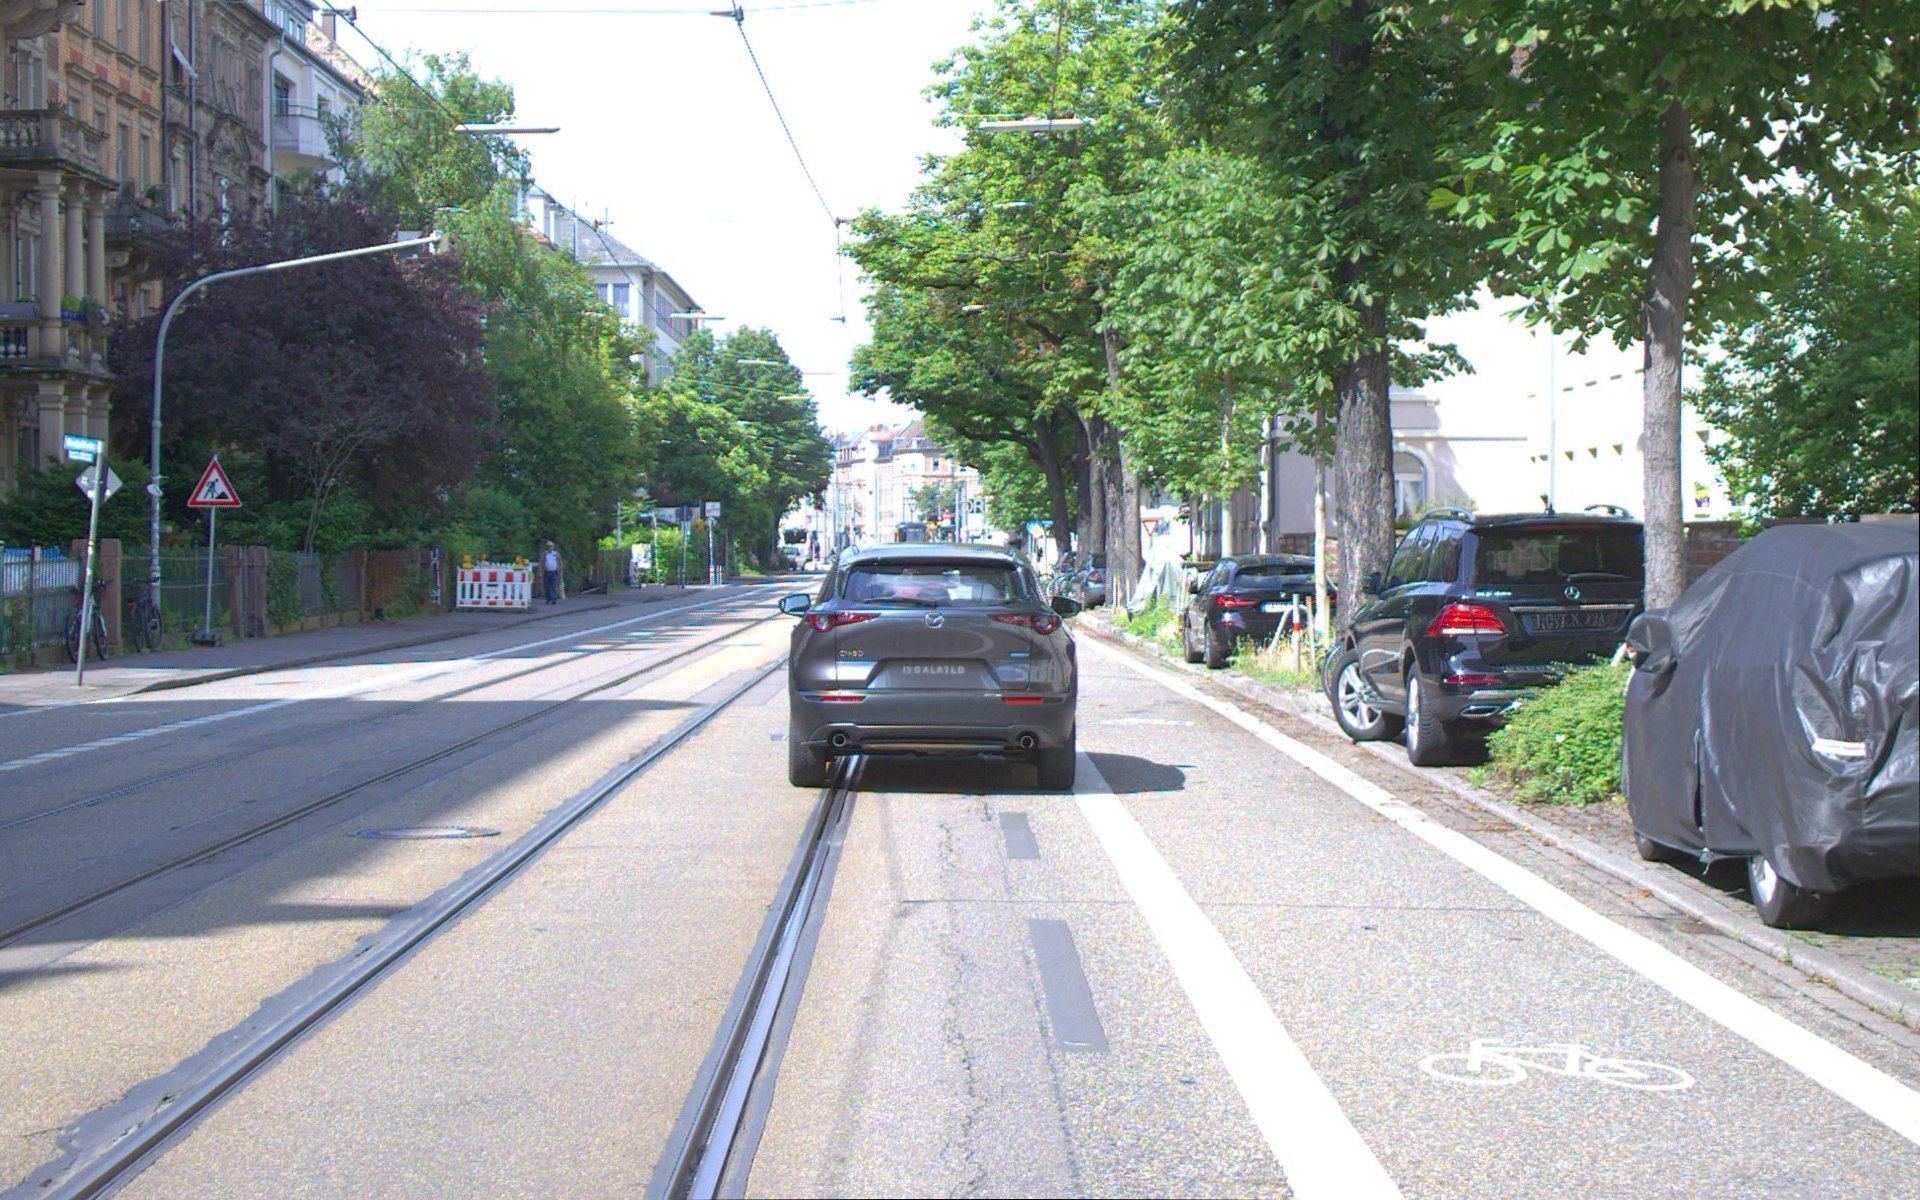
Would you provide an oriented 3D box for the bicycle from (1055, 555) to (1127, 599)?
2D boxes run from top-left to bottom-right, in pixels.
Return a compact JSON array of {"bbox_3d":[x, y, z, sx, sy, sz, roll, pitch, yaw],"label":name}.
[{"bbox_3d":[3.657,-0.647,96.023,1.938,1.172,0.513,-1,0,12],"label":"bicycle"}]

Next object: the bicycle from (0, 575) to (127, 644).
[{"bbox_3d":[-12.768,0.136,48.413,1.961,0.943,0.532,-1,1,-5],"label":"bicycle"}]

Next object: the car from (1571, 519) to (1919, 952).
[{"bbox_3d":[4.116,0.476,15.411,1.862,1.647,4.638,0,1,-1],"label":"car"}]

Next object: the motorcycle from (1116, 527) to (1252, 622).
[{"bbox_3d":[3.929,-0.457,60.386,2.385,1.592,0.677,3,2,38],"label":"motorcycle"}]

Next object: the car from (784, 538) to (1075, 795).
[{"bbox_3d":[-0.202,0.369,22.230,1.720,1.521,3.590,0,1,-1],"label":"car"}]

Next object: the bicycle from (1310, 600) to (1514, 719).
[{"bbox_3d":[3.968,0.520,30.263,1.708,1.003,0.638,-1,1,0],"label":"bicycle"}]

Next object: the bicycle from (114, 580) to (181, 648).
[{"bbox_3d":[-11.806,0.192,49.993,0.530,0.943,1.968,0,1,-1],"label":"bicycle"}]

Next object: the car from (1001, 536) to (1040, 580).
[{"bbox_3d":[2.792,-1.947,158.863,1.720,1.962,4.207,0,1,0],"label":"car"}]

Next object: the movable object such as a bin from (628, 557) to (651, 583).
[{"bbox_3d":[-12.211,-1.140,130.927,0.745,0.984,1.114,2,1,-1],"label":"movable object such as a bin"}]

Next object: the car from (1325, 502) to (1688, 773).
[{"bbox_3d":[3.868,0.195,25.101,1.827,1.776,4.733,-1,1,-1],"label":"car"}]

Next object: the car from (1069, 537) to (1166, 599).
[{"bbox_3d":[3.778,-0.780,83.192,1.846,1.404,4.395,-2,1,-3],"label":"car"}]

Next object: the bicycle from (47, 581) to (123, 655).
[{"bbox_3d":[-11.754,0.234,46.217,0.530,0.943,1.968,0,1,-1],"label":"bicycle"}]

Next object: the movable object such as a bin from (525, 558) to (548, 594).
[{"bbox_3d":[-12.832,-0.741,104.199,0.538,1.090,0.789,0,1,4],"label":"movable object such as a bin"}]

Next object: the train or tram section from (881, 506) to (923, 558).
[{"bbox_3d":[-4.384,-5.072,256.986,2.571,3.759,13.028,0,1,-3],"label":"train or tram section"}]

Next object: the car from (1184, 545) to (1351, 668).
[{"bbox_3d":[3.943,0.053,44.678,1.706,1.474,4.197,2,1,-1],"label":"car"}]

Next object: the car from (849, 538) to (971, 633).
[{"bbox_3d":[-0.866,-0.274,59.658,1.993,1.523,4.000,2,1,-1],"label":"car"}]

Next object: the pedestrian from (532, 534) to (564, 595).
[{"bbox_3d":[-11.463,-0.994,95.695,0.822,1.700,0.891,0,1,-3],"label":"pedestrian"}]
